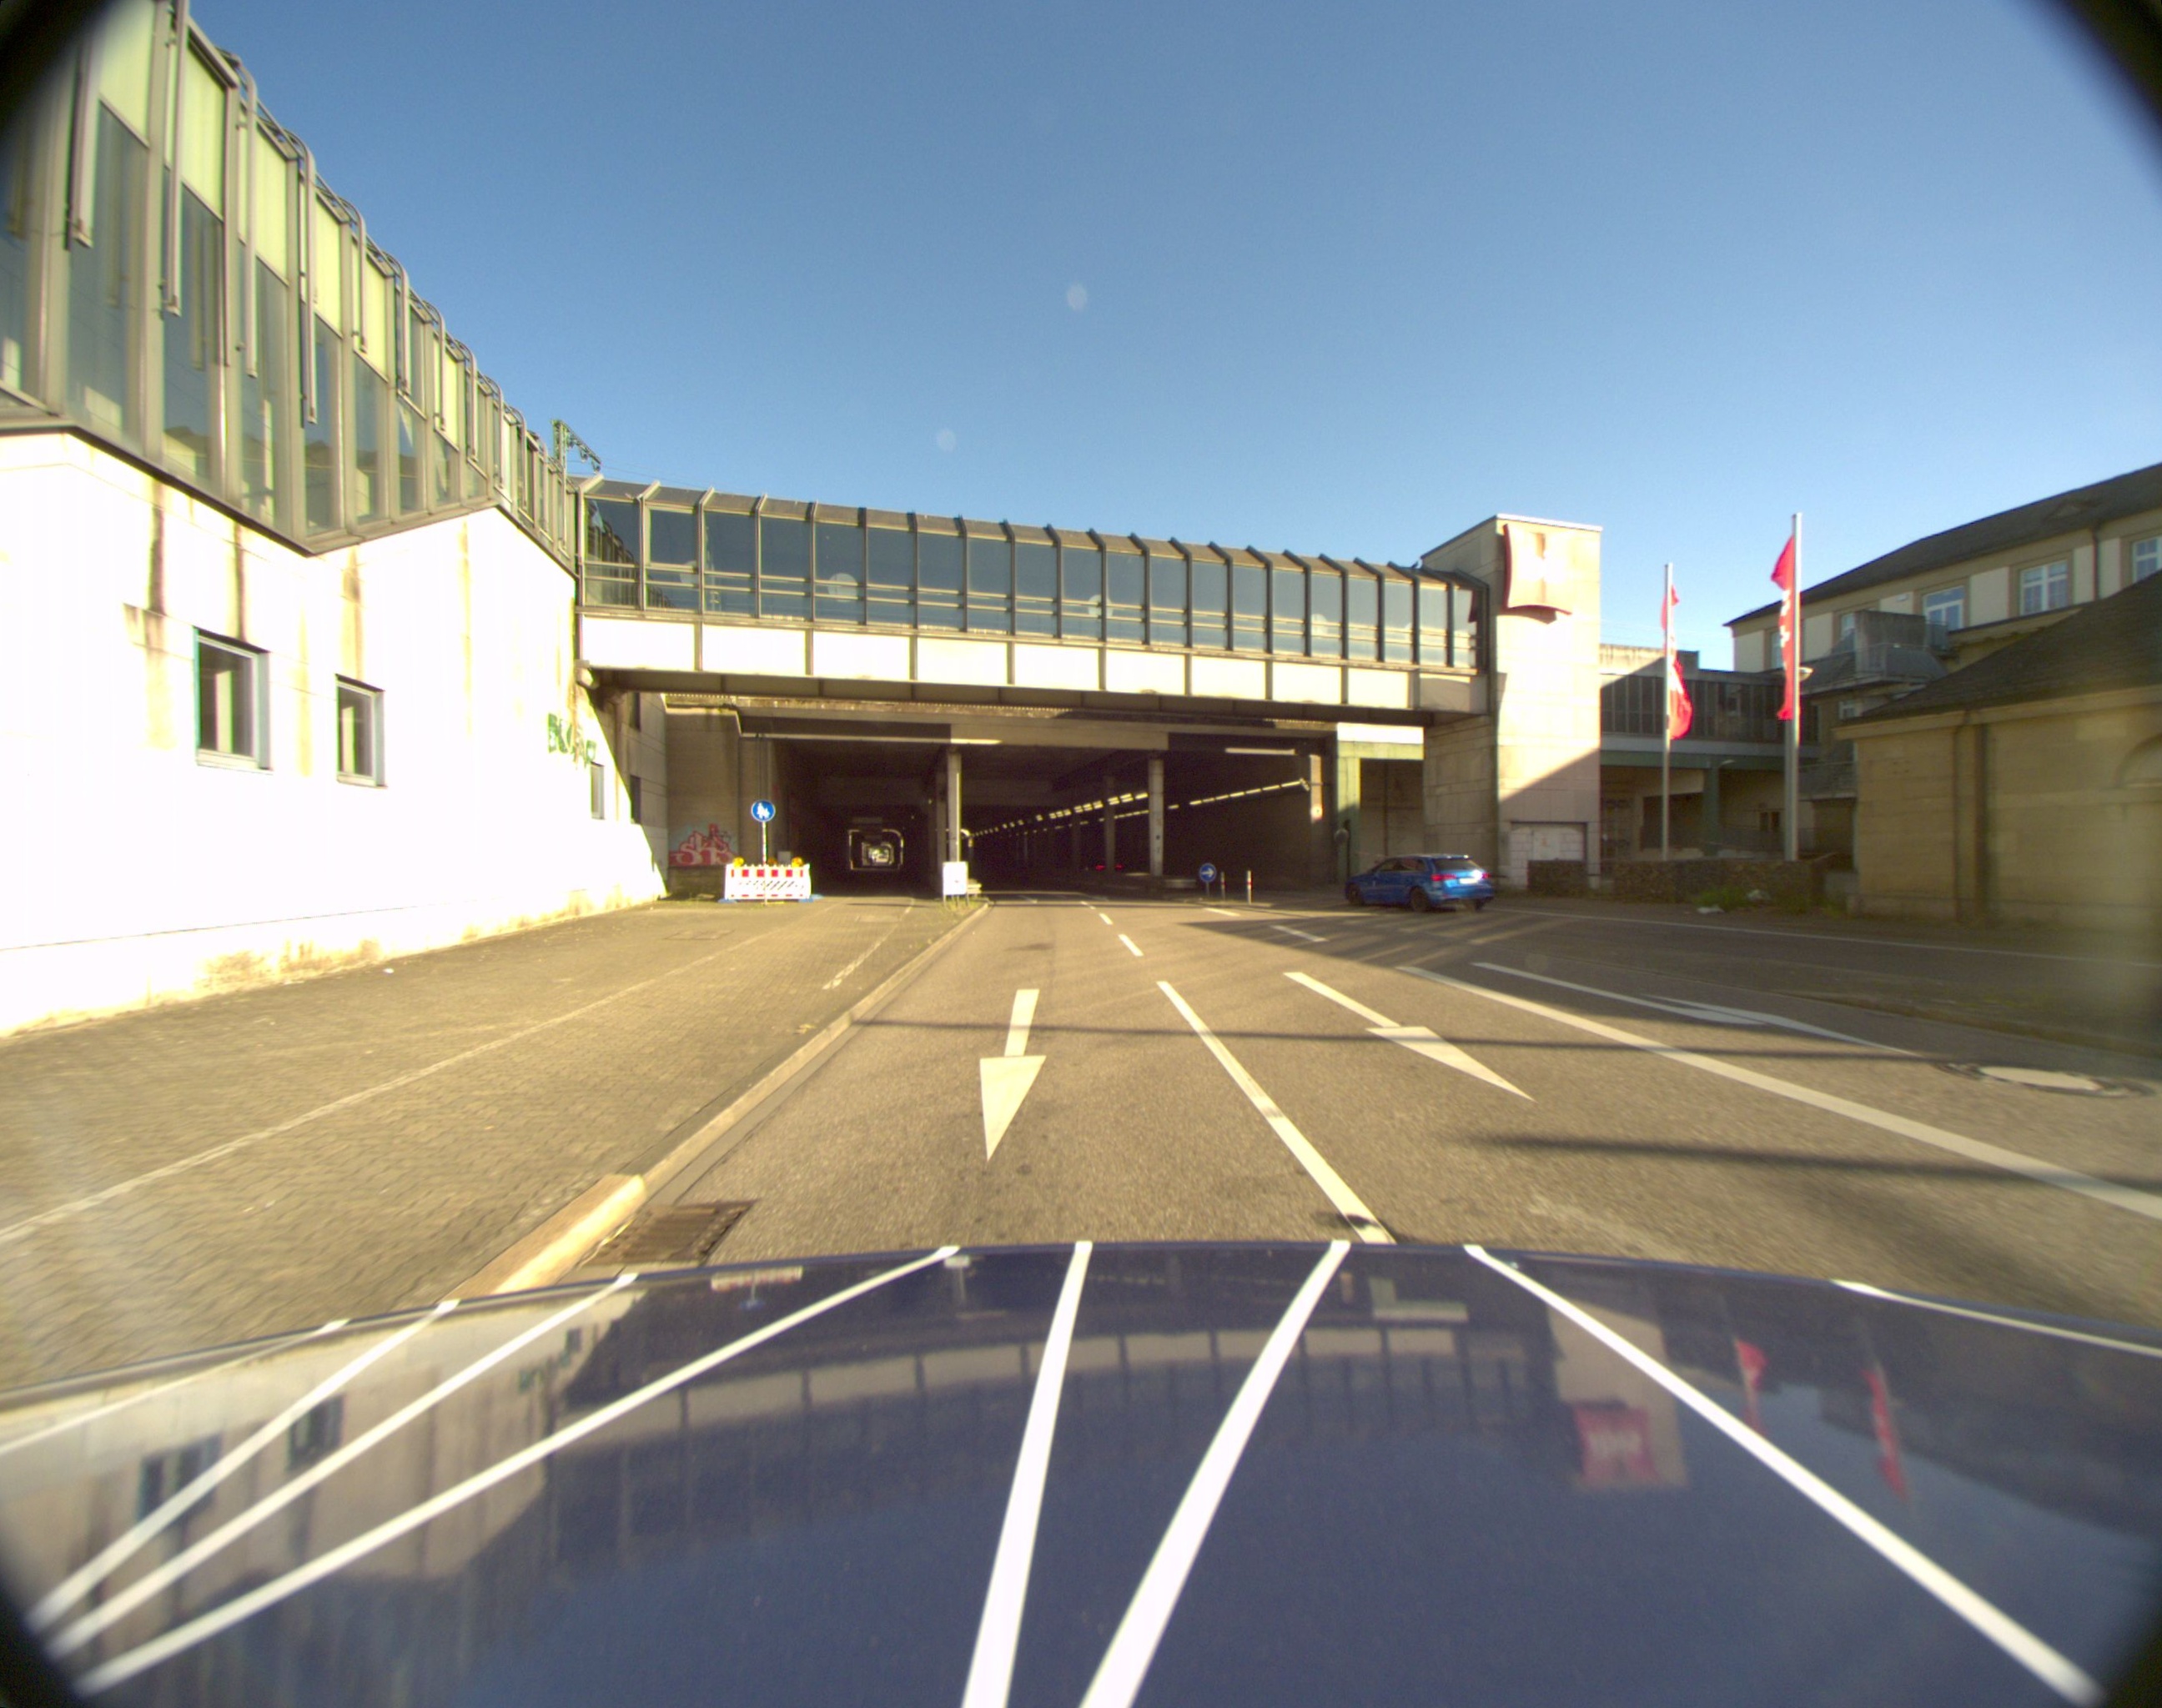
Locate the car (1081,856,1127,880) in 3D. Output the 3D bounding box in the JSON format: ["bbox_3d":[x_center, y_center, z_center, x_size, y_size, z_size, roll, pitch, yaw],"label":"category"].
[{"bbox_3d":[1.368,0.863,47.383,1.758,1.397,4.410,-1,0,-13],"label":"car"}]

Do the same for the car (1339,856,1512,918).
[{"bbox_3d":[8.688,0.766,19.620,1.817,1.382,4.241,-1,0,-14],"label":"car"}]
